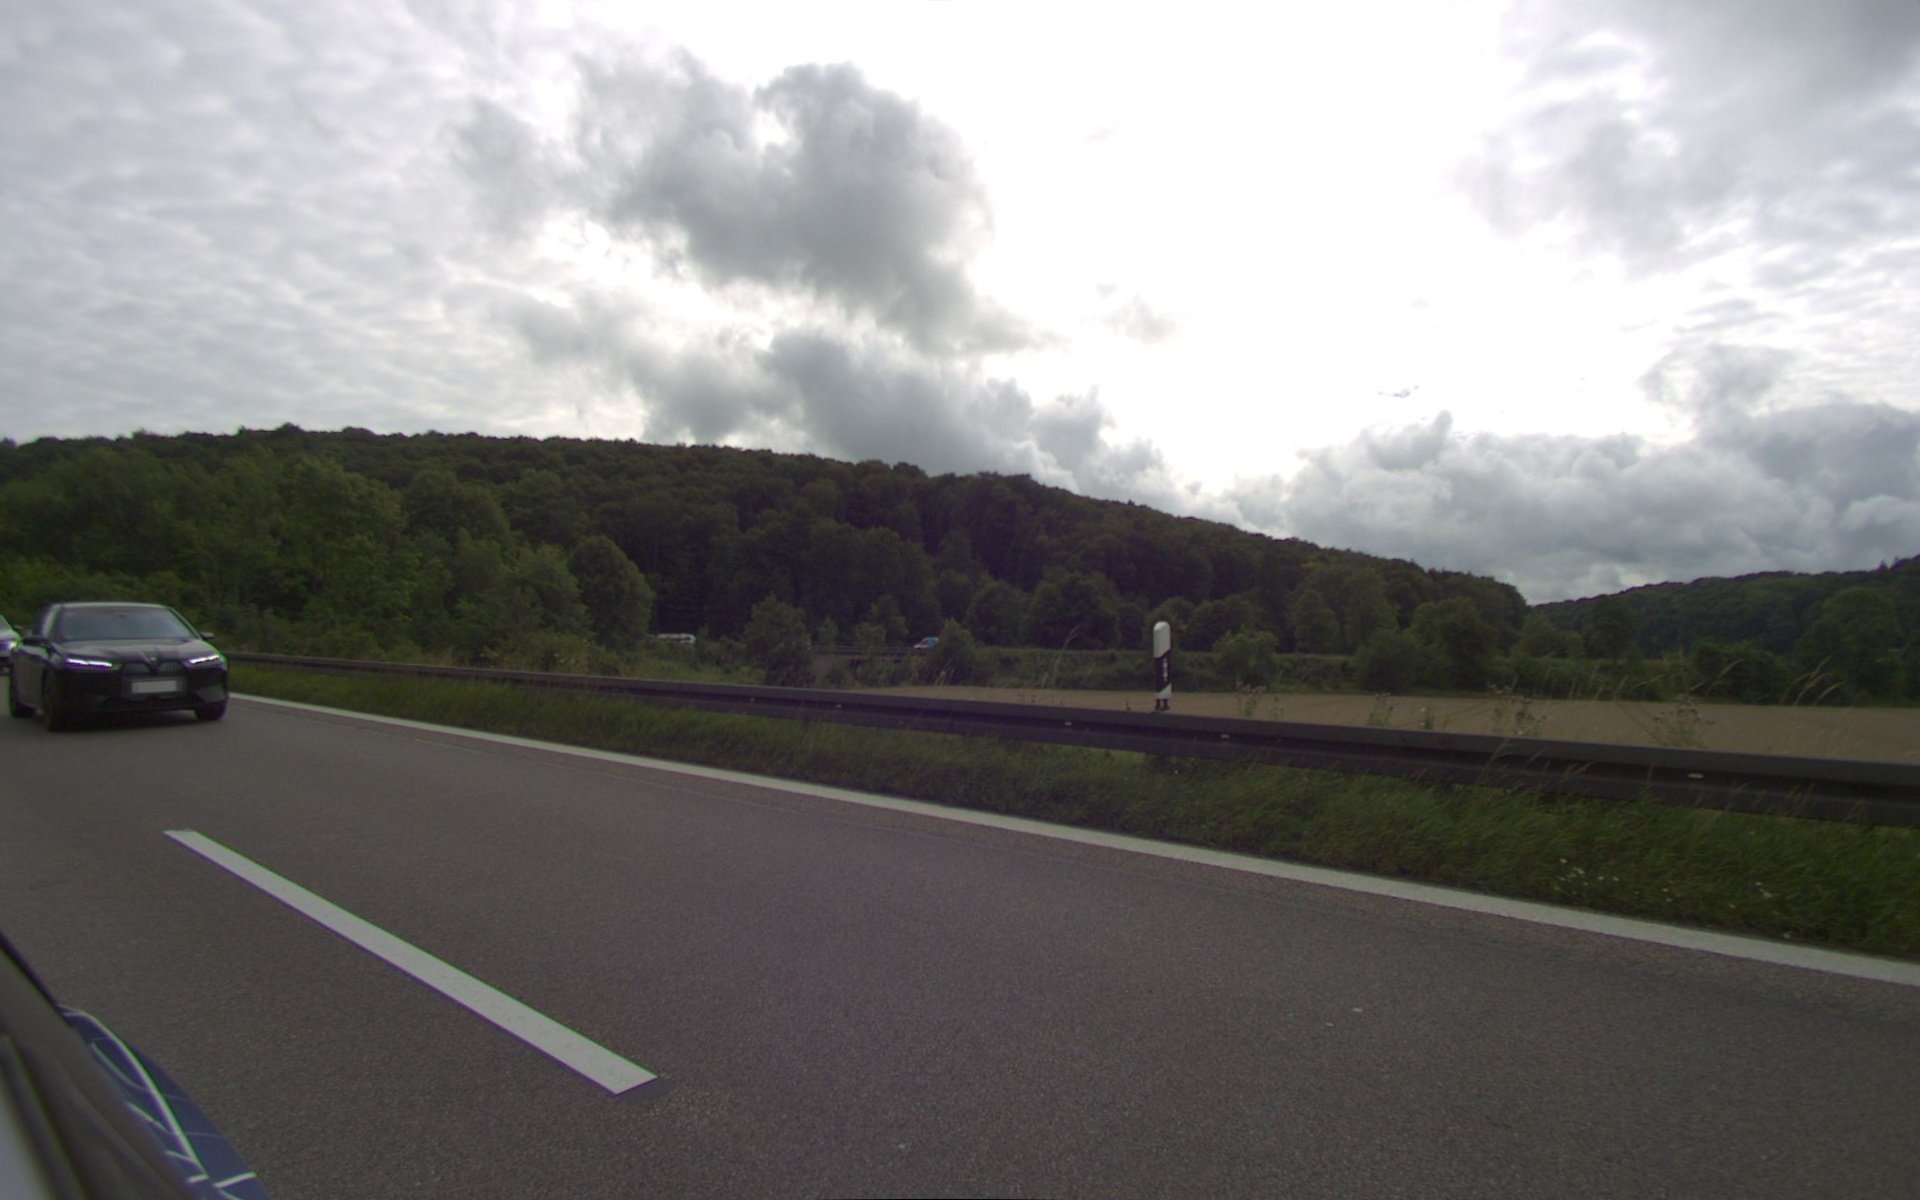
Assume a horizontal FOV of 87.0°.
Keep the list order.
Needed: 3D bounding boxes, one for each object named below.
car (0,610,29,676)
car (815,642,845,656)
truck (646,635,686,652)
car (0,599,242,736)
[{"bbox_3d":[-26.347,1.098,26.772,4.412,1.678,1.973,0,-1,40],"label":"car"},{"bbox_3d":[-20.462,7.724,159.035,4.394,1.822,2.000,3,-4,-1],"label":"car"},{"bbox_3d":[-47.299,6.997,162.710,5.650,2.484,2.364,3,-4,-1],"label":"truck"},{"bbox_3d":[-12.278,0.851,14.675,4.411,1.678,1.974,-1,0,40],"label":"car"}]
